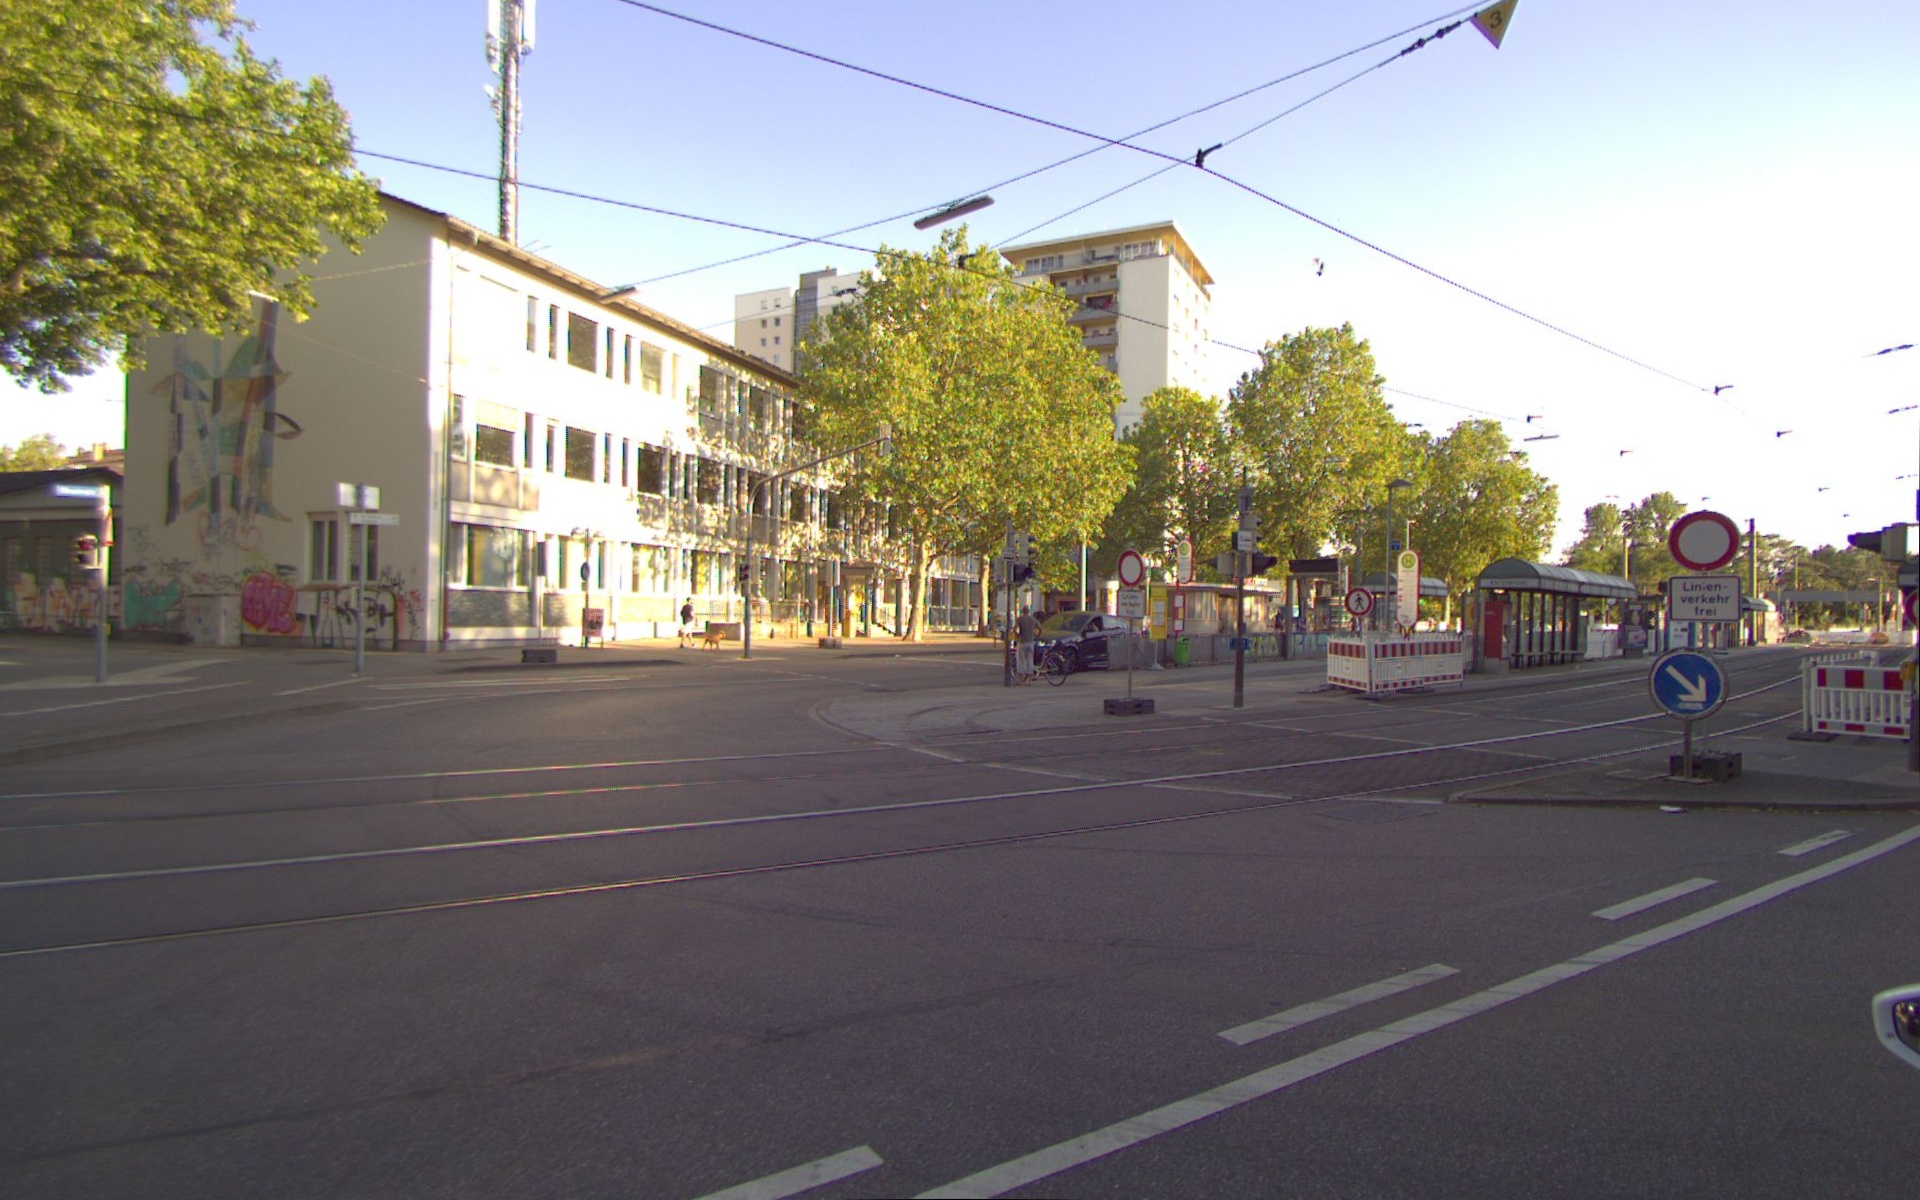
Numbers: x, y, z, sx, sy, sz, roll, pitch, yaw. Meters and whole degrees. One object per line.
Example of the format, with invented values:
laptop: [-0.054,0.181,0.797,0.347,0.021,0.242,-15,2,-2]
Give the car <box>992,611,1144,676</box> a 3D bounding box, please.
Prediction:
car: [2.997,1.153,27.351,4.178,1.606,1.868,2,-1,-43]

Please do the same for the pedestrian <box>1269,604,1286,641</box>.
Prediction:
pedestrian: [17.632,1.235,55.776,0.699,2.040,0.740,1,0,38]

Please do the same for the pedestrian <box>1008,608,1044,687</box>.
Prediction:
pedestrian: [1.489,1.051,22.624,0.712,1.748,0.397,1,0,44]

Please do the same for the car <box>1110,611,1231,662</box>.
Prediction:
car: [7.014,1.177,33.216,4.178,1.551,1.868,2,-1,-43]

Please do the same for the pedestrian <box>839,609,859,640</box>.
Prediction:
pedestrian: [-5.298,1.157,47.968,0.663,1.414,0.693,2,2,19]

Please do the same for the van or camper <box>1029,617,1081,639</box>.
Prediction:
van or camper: [7.298,2.134,77.107,3.919,1.572,1.830,1,0,6]

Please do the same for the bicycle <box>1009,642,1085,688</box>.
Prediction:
bicycle: [1.954,1.453,22.793,1.821,0.955,0.461,0,-1,45]

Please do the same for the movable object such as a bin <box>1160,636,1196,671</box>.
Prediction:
movable object such as a bin: [5.969,1.455,27.449,0.697,0.878,0.664,0,2,-43]

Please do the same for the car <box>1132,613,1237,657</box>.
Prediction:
car: [8.540,1.322,38.078,4.178,1.551,1.868,2,-1,-43]

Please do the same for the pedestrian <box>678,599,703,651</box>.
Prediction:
pedestrian: [-9.079,0.834,33.798,0.664,1.733,0.431,2,2,27]
